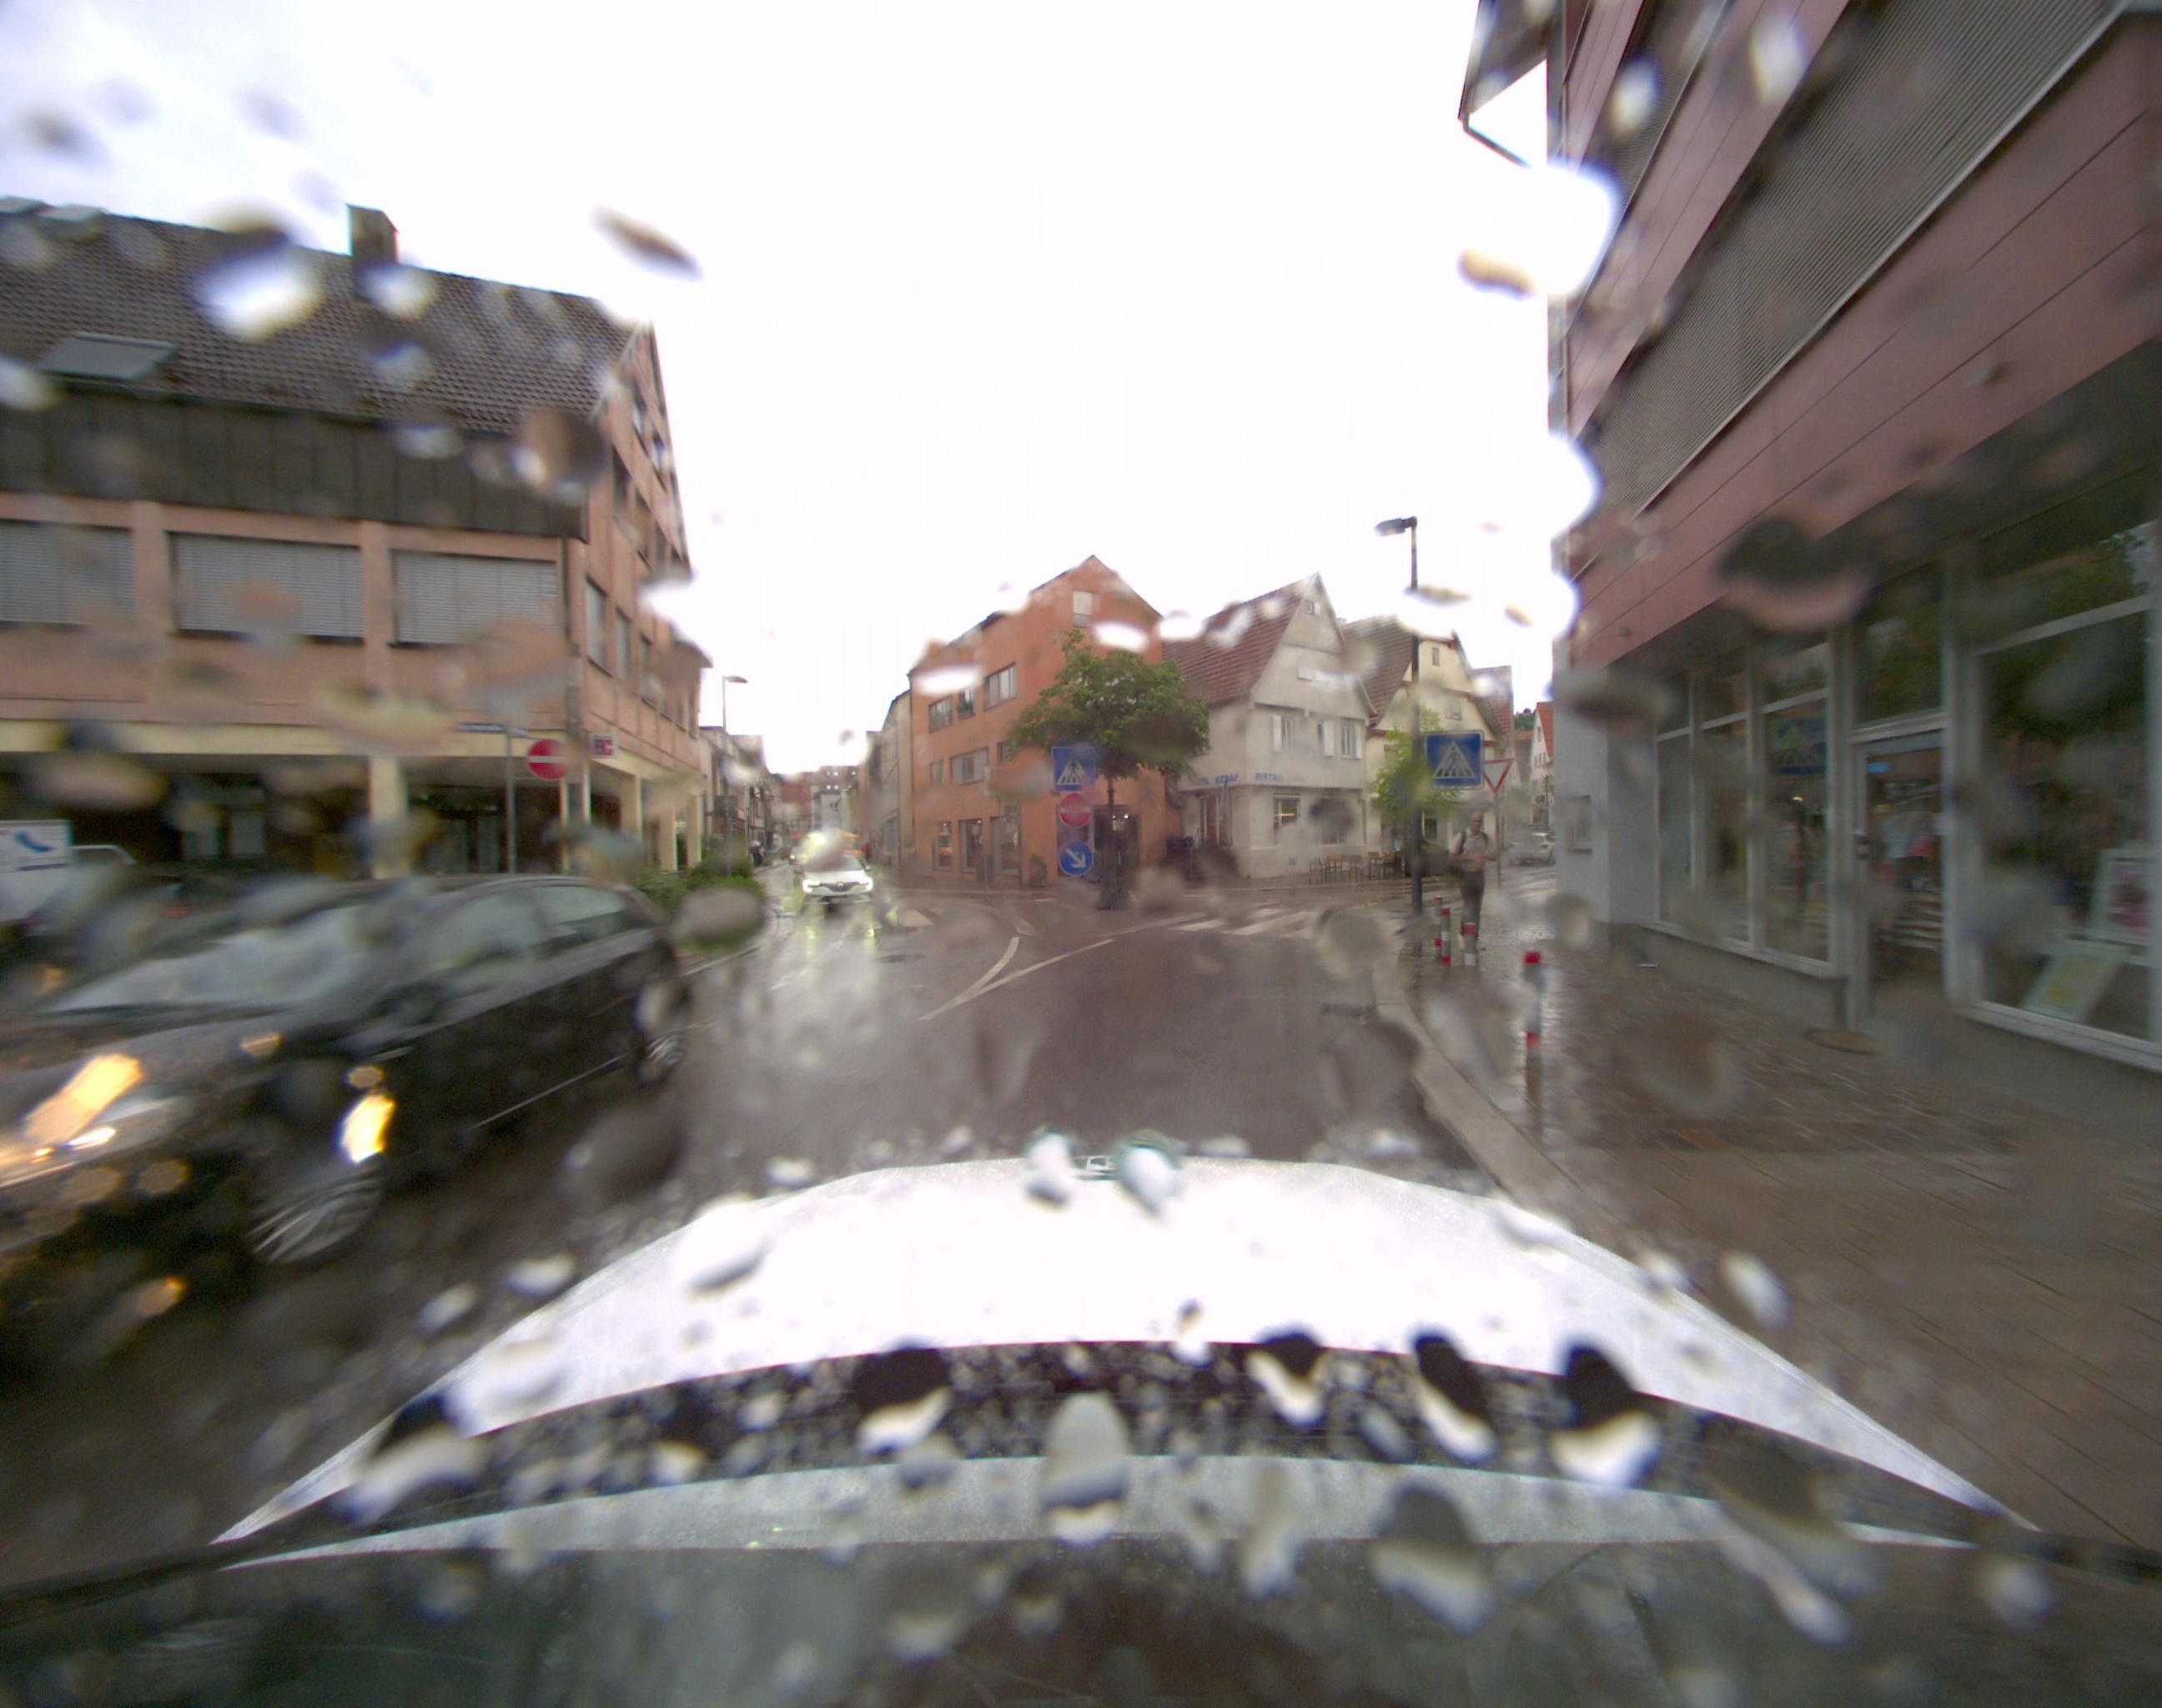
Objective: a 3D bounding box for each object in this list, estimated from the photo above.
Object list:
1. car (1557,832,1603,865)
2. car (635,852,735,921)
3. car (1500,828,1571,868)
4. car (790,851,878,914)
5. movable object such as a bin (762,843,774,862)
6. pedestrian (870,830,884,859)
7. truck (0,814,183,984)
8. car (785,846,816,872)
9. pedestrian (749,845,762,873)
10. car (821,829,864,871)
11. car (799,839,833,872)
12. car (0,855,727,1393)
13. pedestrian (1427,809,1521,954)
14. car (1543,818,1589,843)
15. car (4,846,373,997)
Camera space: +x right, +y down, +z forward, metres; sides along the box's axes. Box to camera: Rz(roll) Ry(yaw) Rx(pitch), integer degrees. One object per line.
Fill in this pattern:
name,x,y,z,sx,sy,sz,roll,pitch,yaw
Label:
car,28.067,-0.351,45.743,1.974,1.592,4.026,-3,1,34
car,-9.371,0.697,19.536,1.720,1.458,3.884,-1,0,-20
car,20.884,-0.295,37.376,1.974,1.592,4.025,-3,1,41
car,-6.627,0.686,21.839,1.999,1.441,4.139,-2,1,-18
movable object such as a bin,-23.606,-0.085,61.403,0.837,1.382,0.848,-2,1,-22
pedestrian,-14.456,-0.674,57.702,0.869,2.013,0.703,-2,0,-21
truck,-14.762,0.565,11.194,1.600,2.062,3.178,-4,5,-15
car,-23.675,0.385,68.790,1.997,2.013,4.341,-4,1,-15
pedestrian,-23.745,0.329,59.422,0.837,2.013,0.848,-2,1,-22
car,-13.346,-0.204,45.516,2.109,2.146,4.839,-4,1,-17
car,-19.105,0.094,58.709,2.110,2.146,4.837,-4,1,-18
car,-3.595,0.793,4.259,1.643,1.445,3.984,-3,1,0
pedestrian,5.439,0.352,11.299,0.760,1.914,0.856,-2,0,-30
car,34.837,-1.695,58.617,1.977,1.592,4.019,-3,1,18
car,-12.234,0.773,11.597,1.580,1.478,3.807,-2,5,-14
